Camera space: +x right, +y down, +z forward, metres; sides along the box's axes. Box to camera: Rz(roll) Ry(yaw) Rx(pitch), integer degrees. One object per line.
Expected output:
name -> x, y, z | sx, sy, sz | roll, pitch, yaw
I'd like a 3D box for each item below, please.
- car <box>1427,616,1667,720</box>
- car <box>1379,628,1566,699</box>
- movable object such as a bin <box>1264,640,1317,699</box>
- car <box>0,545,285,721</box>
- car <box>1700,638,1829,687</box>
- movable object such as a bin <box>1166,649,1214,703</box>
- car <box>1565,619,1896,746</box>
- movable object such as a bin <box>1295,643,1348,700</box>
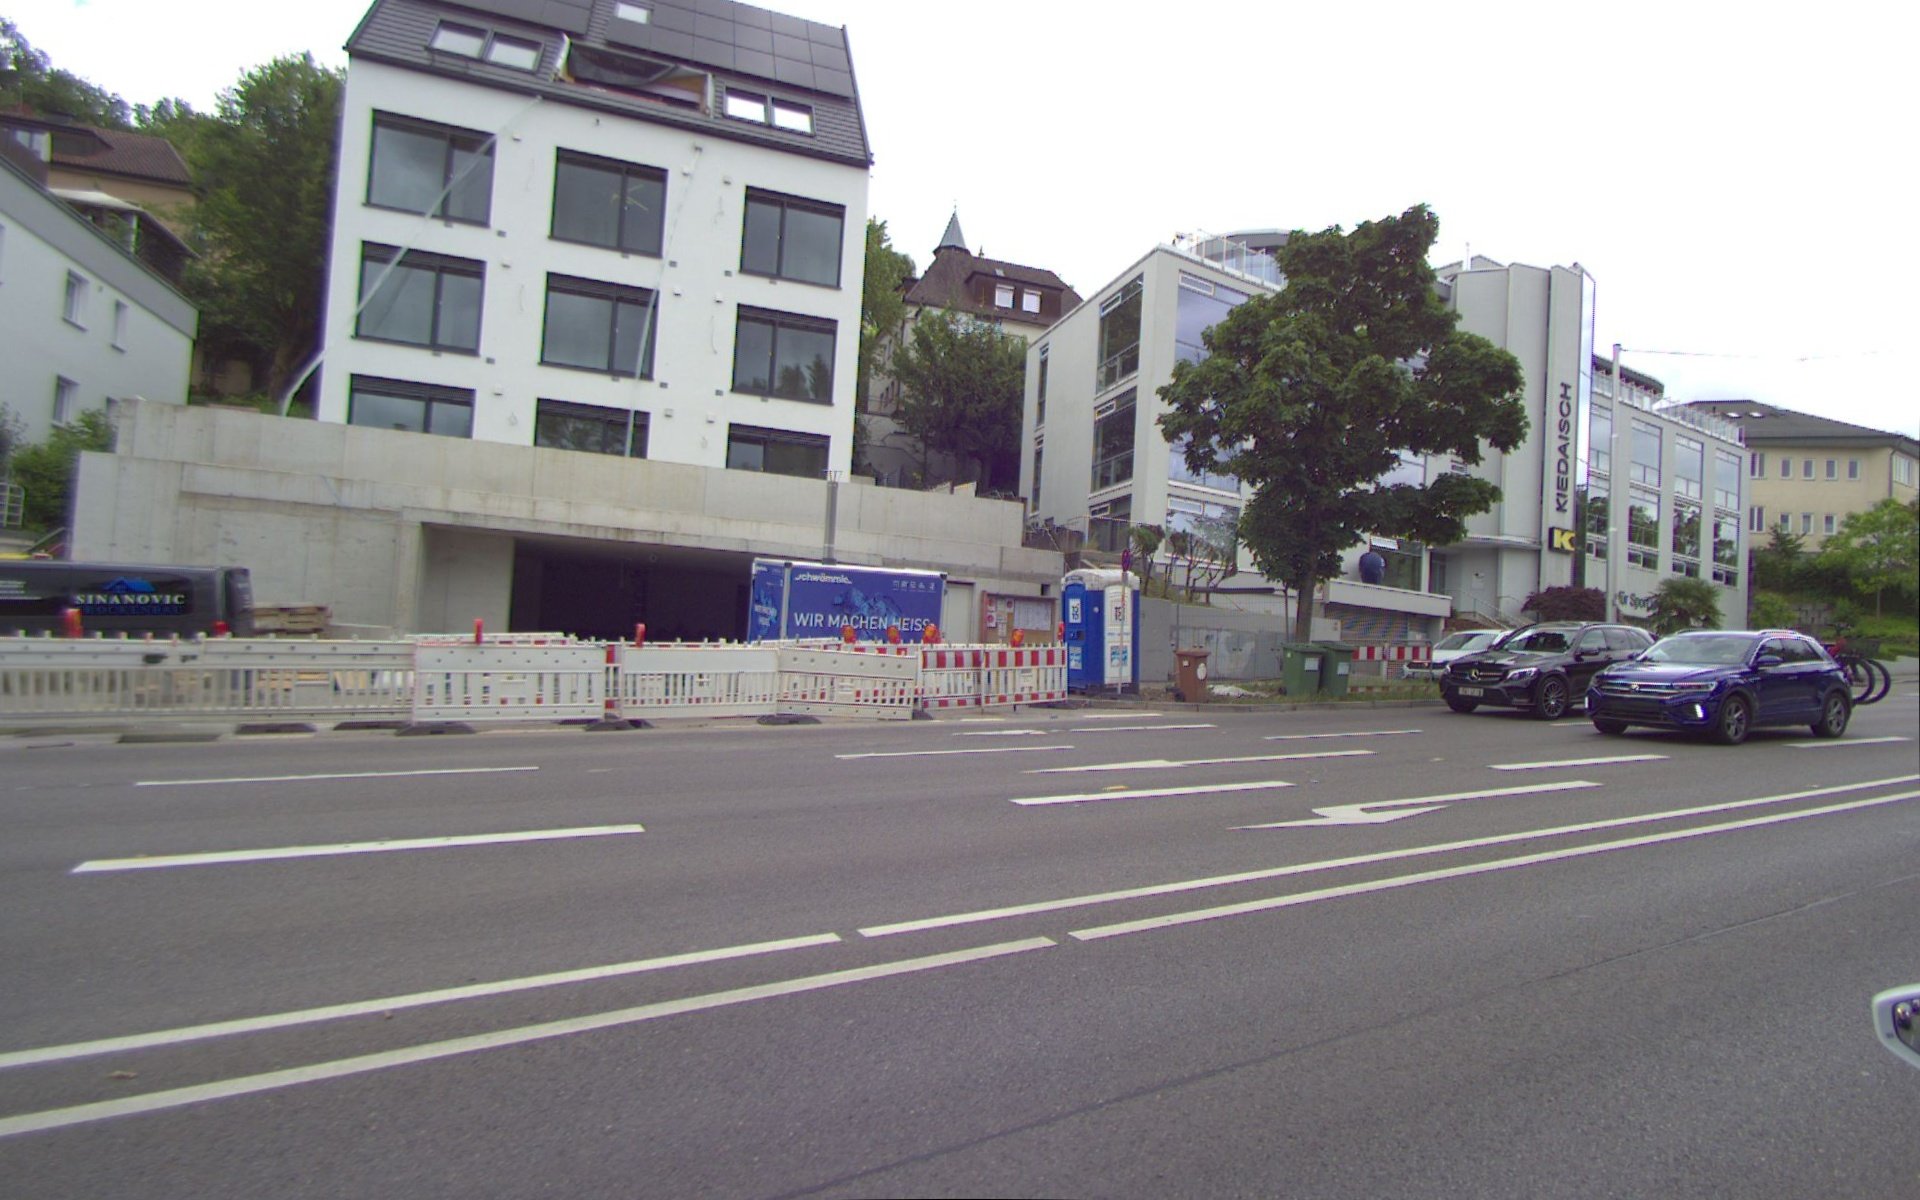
car -> 10.486, 1.163, 17.921 | 4.088, 1.655, 1.765 | 2, -1, -27
car -> 12.080, 1.460, 23.638 | 4.248, 1.518, 1.765 | 2, -1, -27
movable object such as a bin -> 6.062, 1.268, 18.420 | 0.650, 1.029, 0.644 | 1, 0, -21
car -> -11.443, 0.372, 12.146 | 5.149, 1.993, 1.976 | 2, -1, -26
car -> 25.617, 1.964, 31.980 | 4.091, 1.426, 1.763 | 2, -1, -29
movable object such as a bin -> 4.035, 1.319, 17.597 | 0.648, 0.891, 0.646 | 1, 0, 29
car -> 11.433, 1.140, 14.830 | 5.114, 1.617, 1.765 | 2, -1, -26
movable object such as a bin -> 6.693, 1.320, 18.619 | 0.650, 1.003, 0.644 | 1, 0, -21
